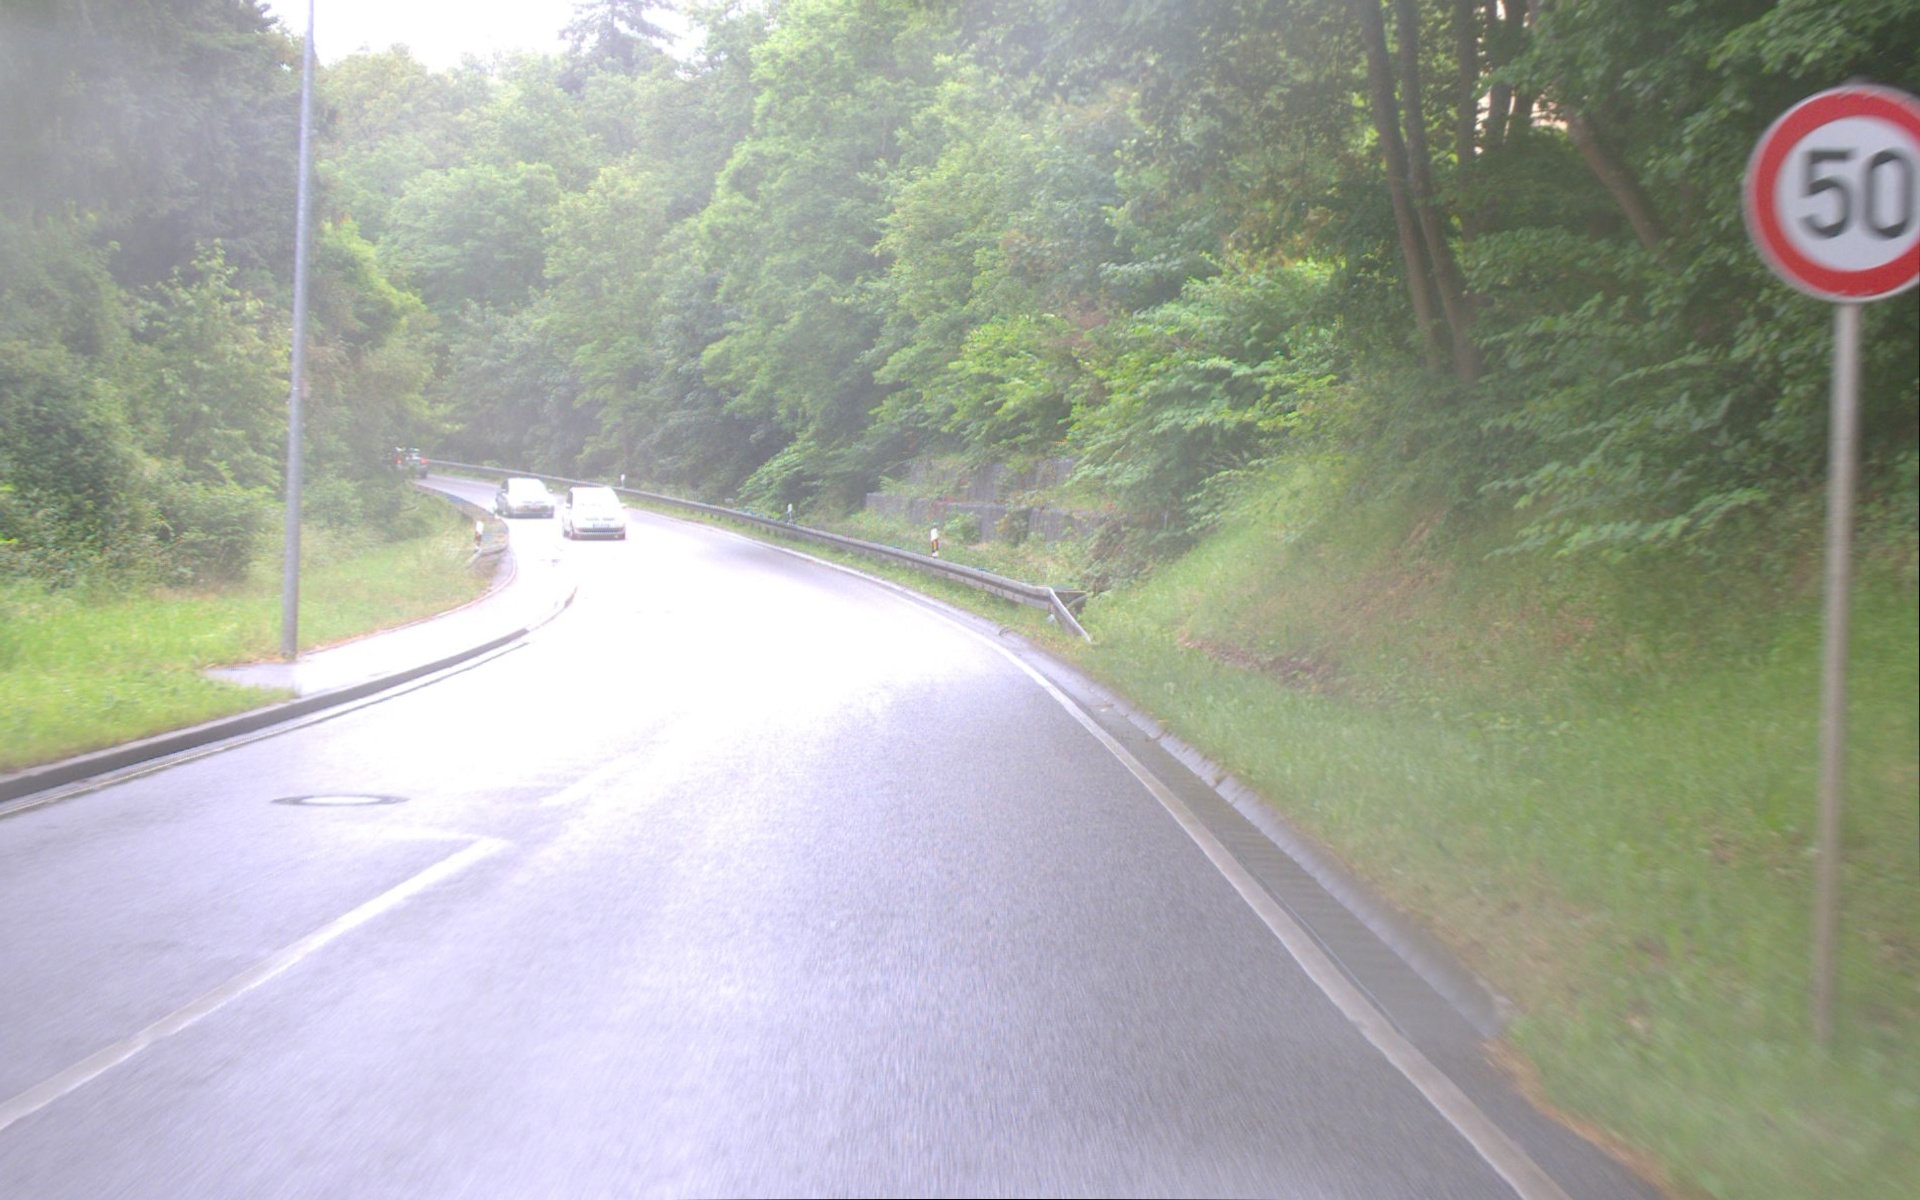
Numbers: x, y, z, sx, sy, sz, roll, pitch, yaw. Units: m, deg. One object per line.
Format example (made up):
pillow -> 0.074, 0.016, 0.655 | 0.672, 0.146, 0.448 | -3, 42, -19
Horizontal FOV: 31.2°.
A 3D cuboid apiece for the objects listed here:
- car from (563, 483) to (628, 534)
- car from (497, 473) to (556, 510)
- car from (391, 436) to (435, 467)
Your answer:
car -> -12.047, -3.019, 113.513 | 1.814, 1.642, 4.132 | 0, 2, -11
car -> -16.688, -4.168, 132.286 | 1.814, 1.429, 4.001 | -1, 2, -13
car -> -26.779, -7.269, 168.470 | 1.736, 1.505, 4.001 | -1, 2, -4
